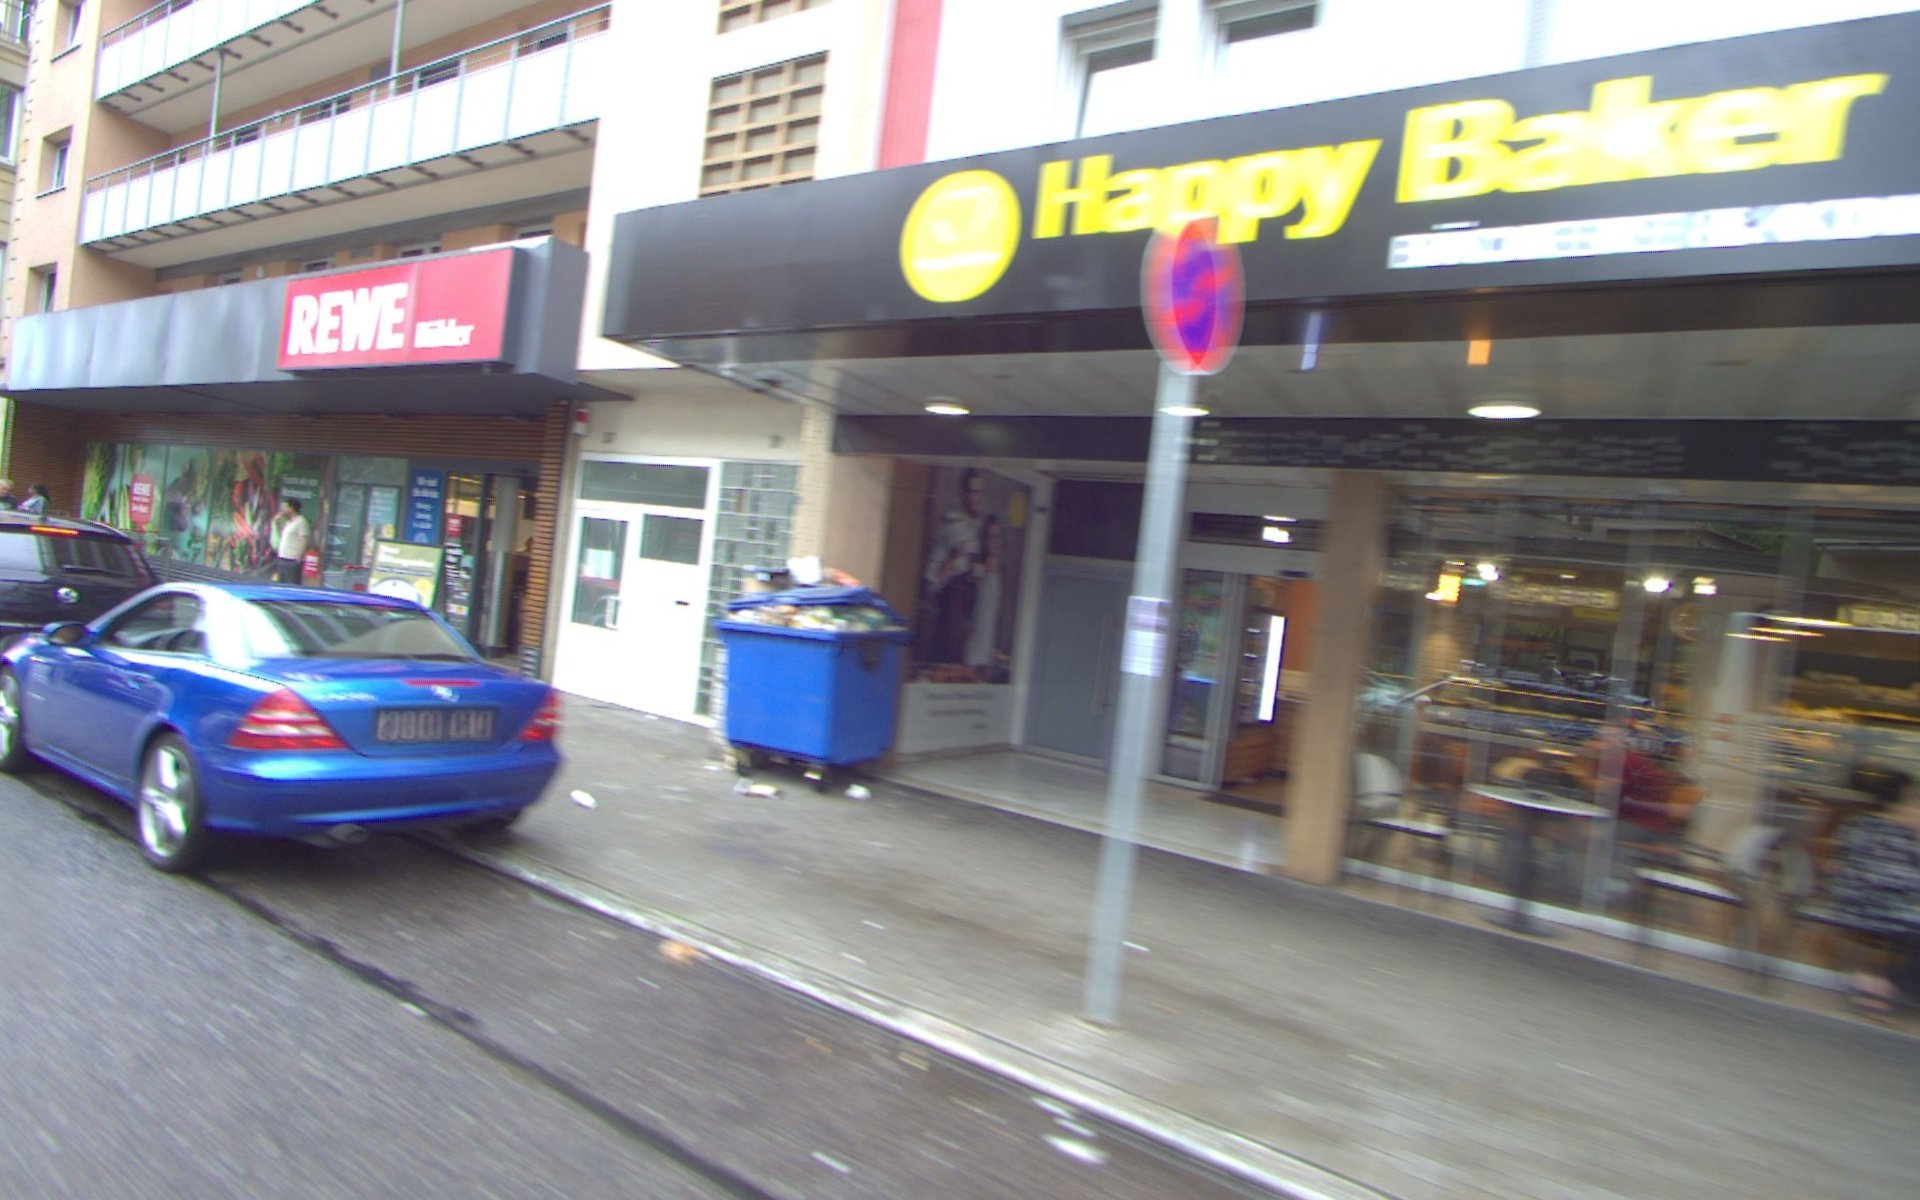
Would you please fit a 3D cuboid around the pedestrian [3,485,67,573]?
[{"bbox_3d":[-17.917,-1.374,19.493,0.615,1.592,0.563,7,0,16],"label":"pedestrian"}]

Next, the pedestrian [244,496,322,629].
[{"bbox_3d":[-10.091,-0.556,14.994,0.716,1.881,0.596,6,0,36],"label":"pedestrian"}]

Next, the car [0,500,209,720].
[{"bbox_3d":[-8.428,-0.095,8.659,3.916,1.564,1.734,7,-3,33],"label":"car"}]

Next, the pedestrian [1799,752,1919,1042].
[{"bbox_3d":[4.757,1.483,5.095,0.649,1.275,0.621,7,3,40],"label":"pedestrian"}]

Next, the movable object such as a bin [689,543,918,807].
[{"bbox_3d":[-1.219,0.549,7.897,1.274,1.815,1.000,6,0,30],"label":"movable object such as a bin"}]

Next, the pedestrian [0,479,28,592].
[{"bbox_3d":[-14.815,-1.021,15.326,0.736,1.672,0.626,10,2,34],"label":"pedestrian"}]

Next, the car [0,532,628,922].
[{"bbox_3d":[-3.849,0.499,5.680,3.706,1.326,1.736,7,-1,34],"label":"car"}]
